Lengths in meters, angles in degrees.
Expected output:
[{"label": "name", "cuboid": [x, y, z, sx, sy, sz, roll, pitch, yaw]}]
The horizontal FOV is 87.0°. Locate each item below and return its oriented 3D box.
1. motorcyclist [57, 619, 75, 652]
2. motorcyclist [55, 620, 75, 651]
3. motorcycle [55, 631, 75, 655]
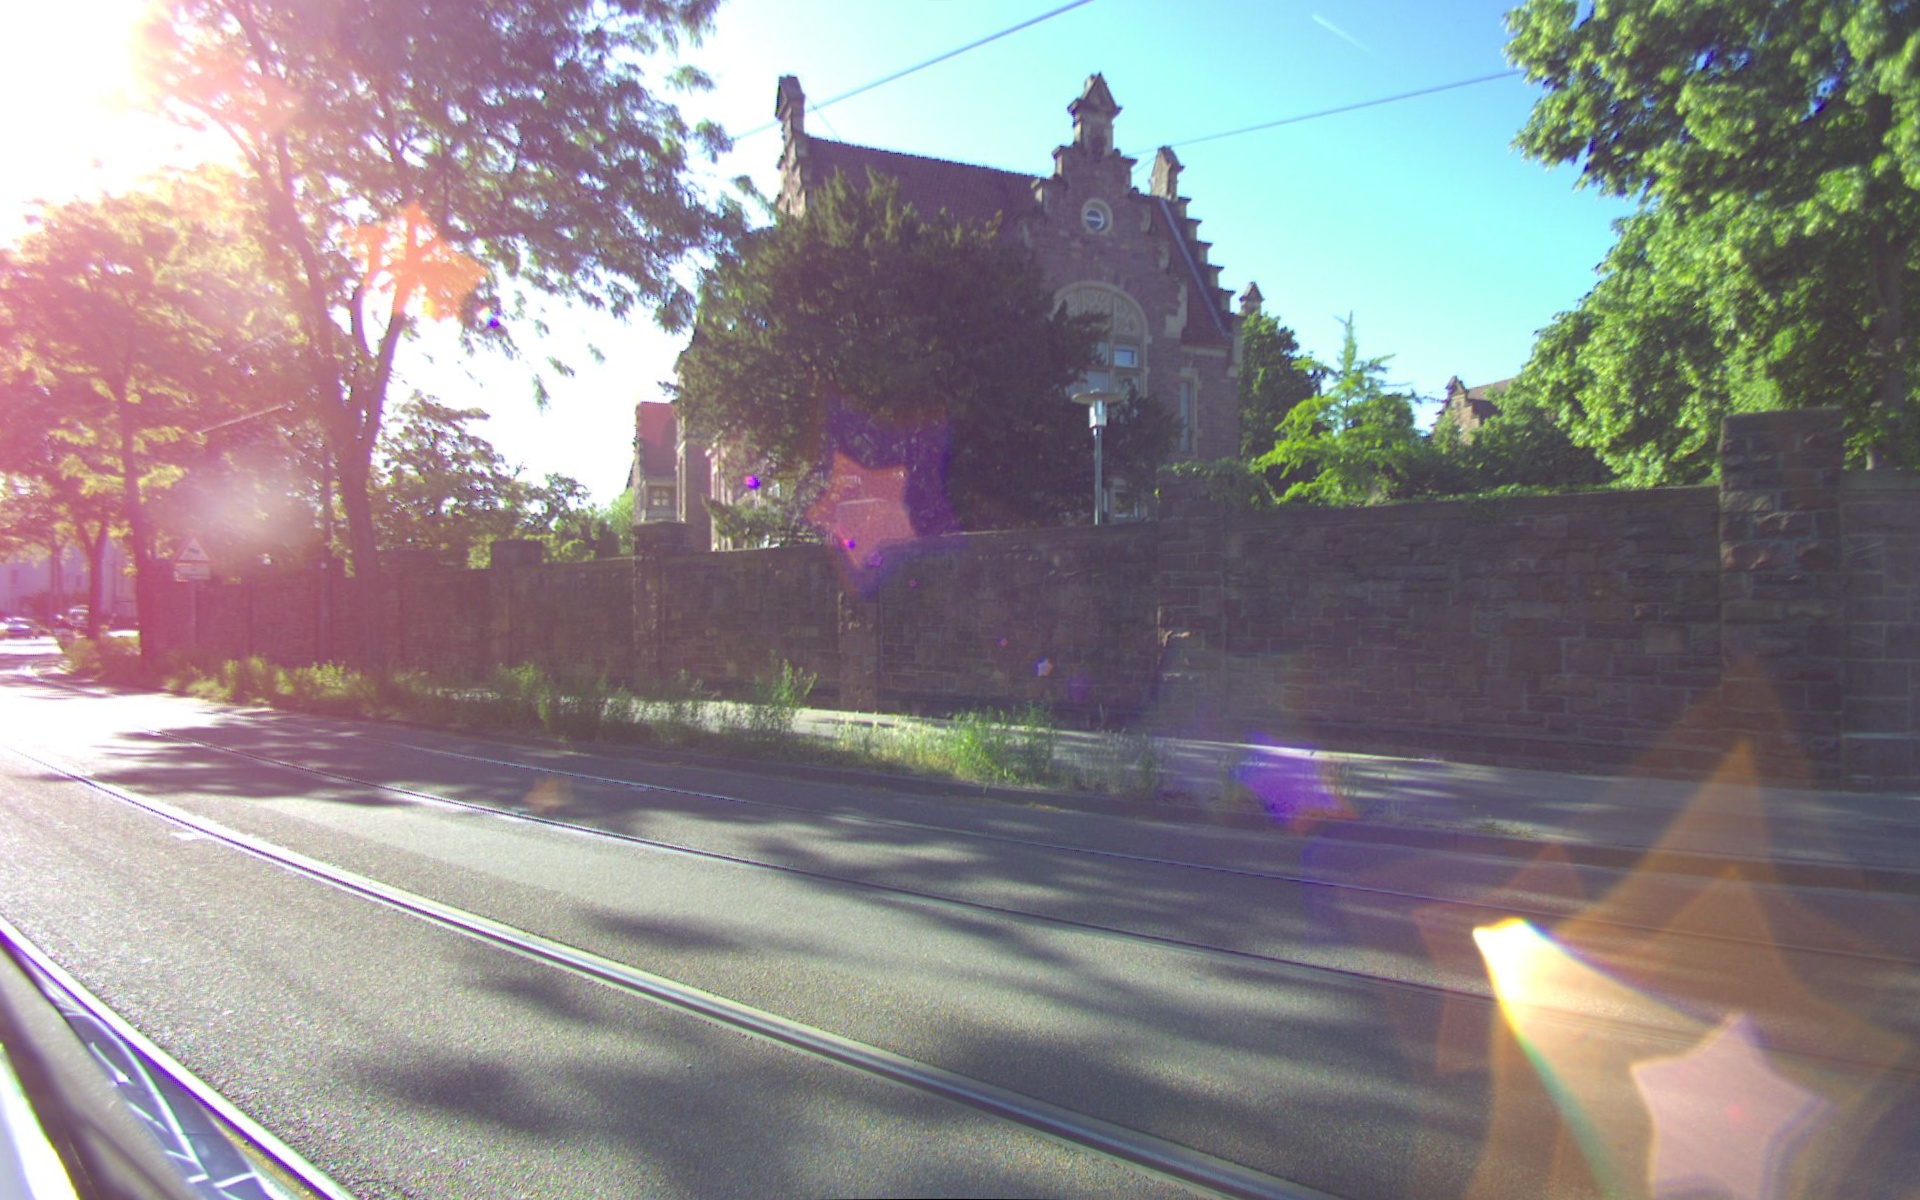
[{"label": "motorcyclist", "cuboid": [-42.055, 1.656, 47.595, 0.466, 1.527, 0.600, -2, -1, 44]}, {"label": "motorcyclist", "cuboid": [-42.401, 1.687, 47.943, 0.676, 1.451, 0.447, 0, -1, -45]}, {"label": "motorcycle", "cuboid": [-42.430, 2.027, 47.972, 0.602, 1.101, 1.857, 0, -1, -45]}]
